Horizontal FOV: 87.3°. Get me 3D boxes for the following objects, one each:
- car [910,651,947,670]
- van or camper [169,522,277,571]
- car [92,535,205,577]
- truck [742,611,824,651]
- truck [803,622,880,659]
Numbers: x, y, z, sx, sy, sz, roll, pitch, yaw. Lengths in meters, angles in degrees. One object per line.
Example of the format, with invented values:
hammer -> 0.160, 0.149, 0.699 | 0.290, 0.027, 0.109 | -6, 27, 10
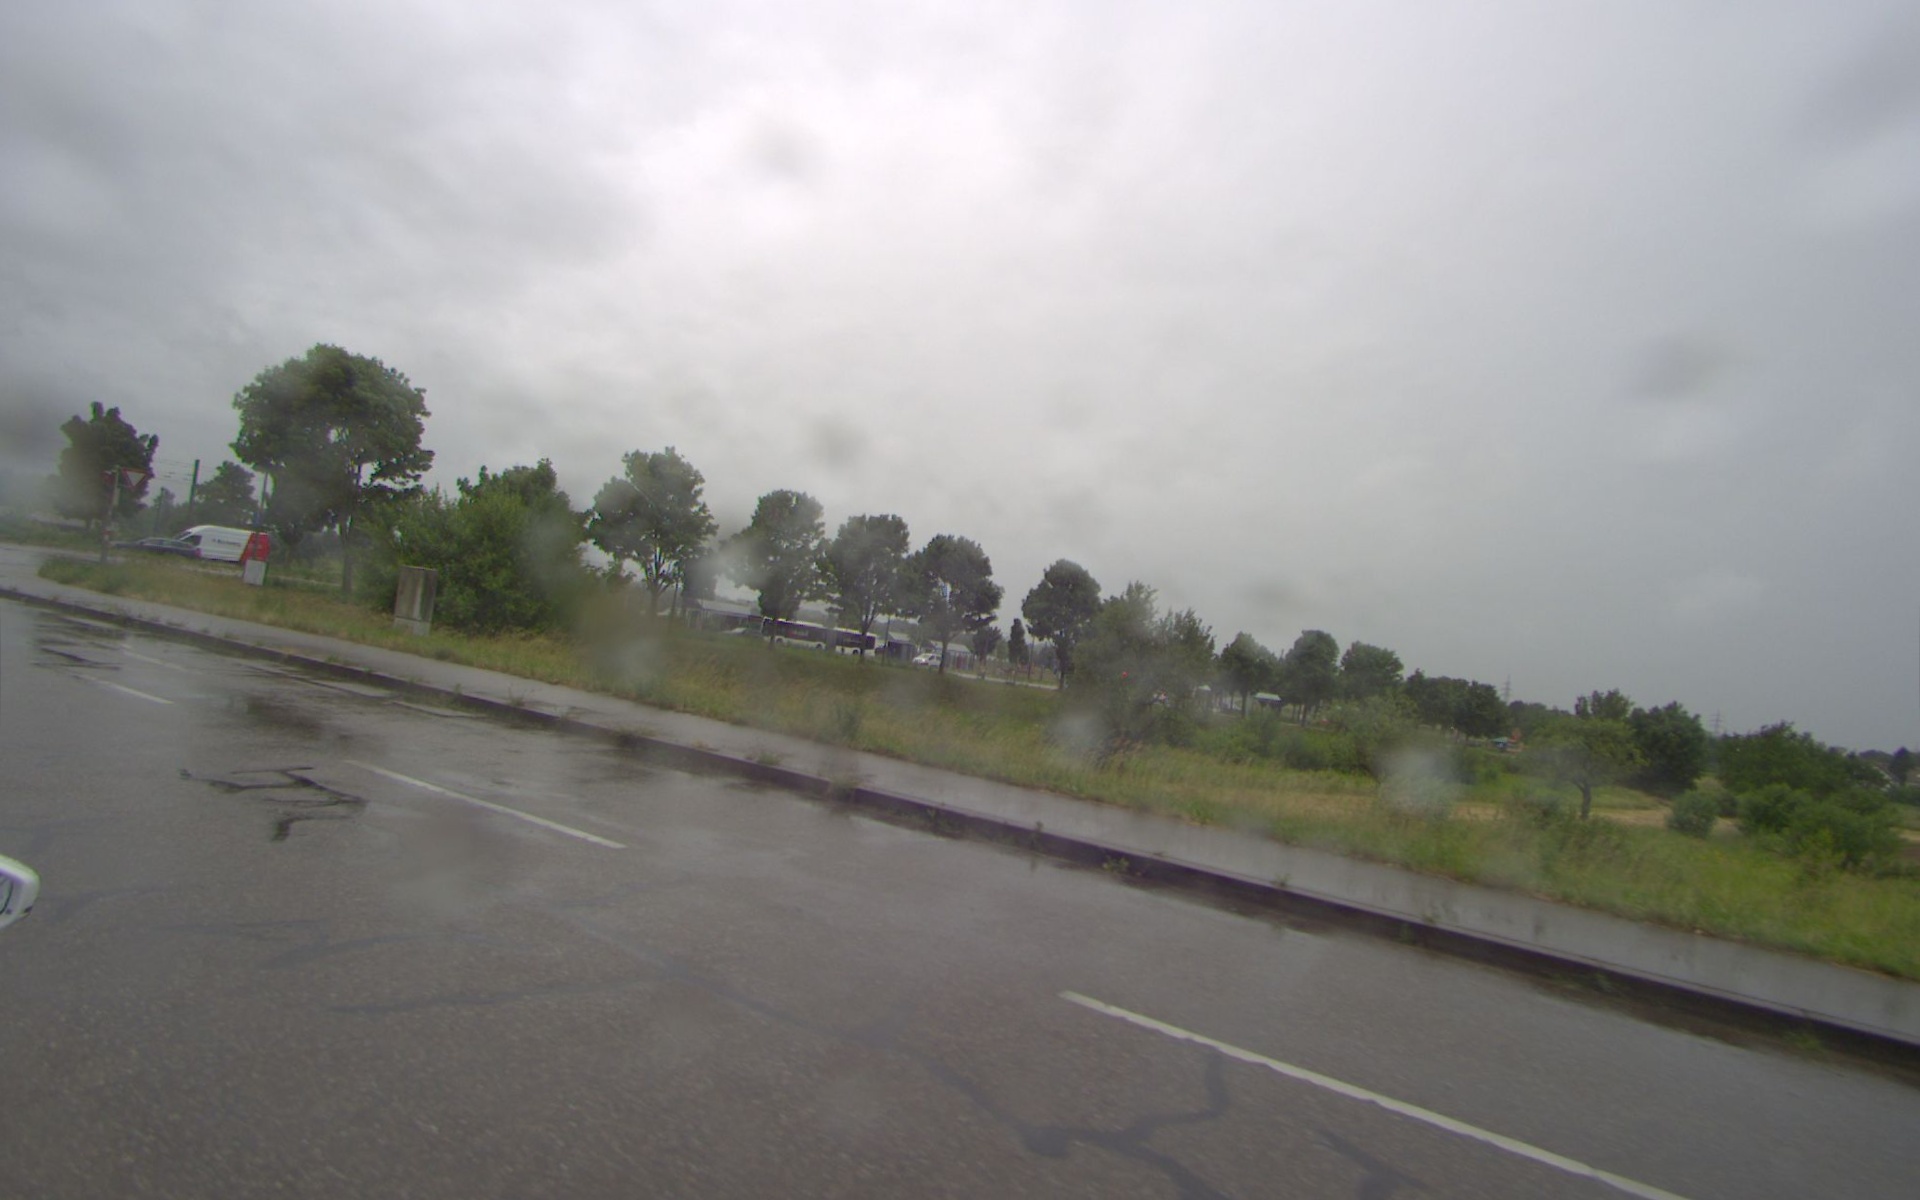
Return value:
car -> -3.601, 7.034, 117.340 | 1.794, 1.570, 4.680 | 6, -4, 34
van or camper -> -46.065, -3.326, 62.994 | 2.126, 2.193, 4.857 | 7, -3, 34
car -> -46.330, -2.487, 57.525 | 1.795, 1.571, 4.672 | 7, -3, 38
truck -> -18.080, 3.233, 103.499 | 2.614, 2.862, 8.833 | 7, -3, 35
truck -> -12.932, 4.522, 110.873 | 2.614, 2.802, 9.337 | 7, -3, 36
